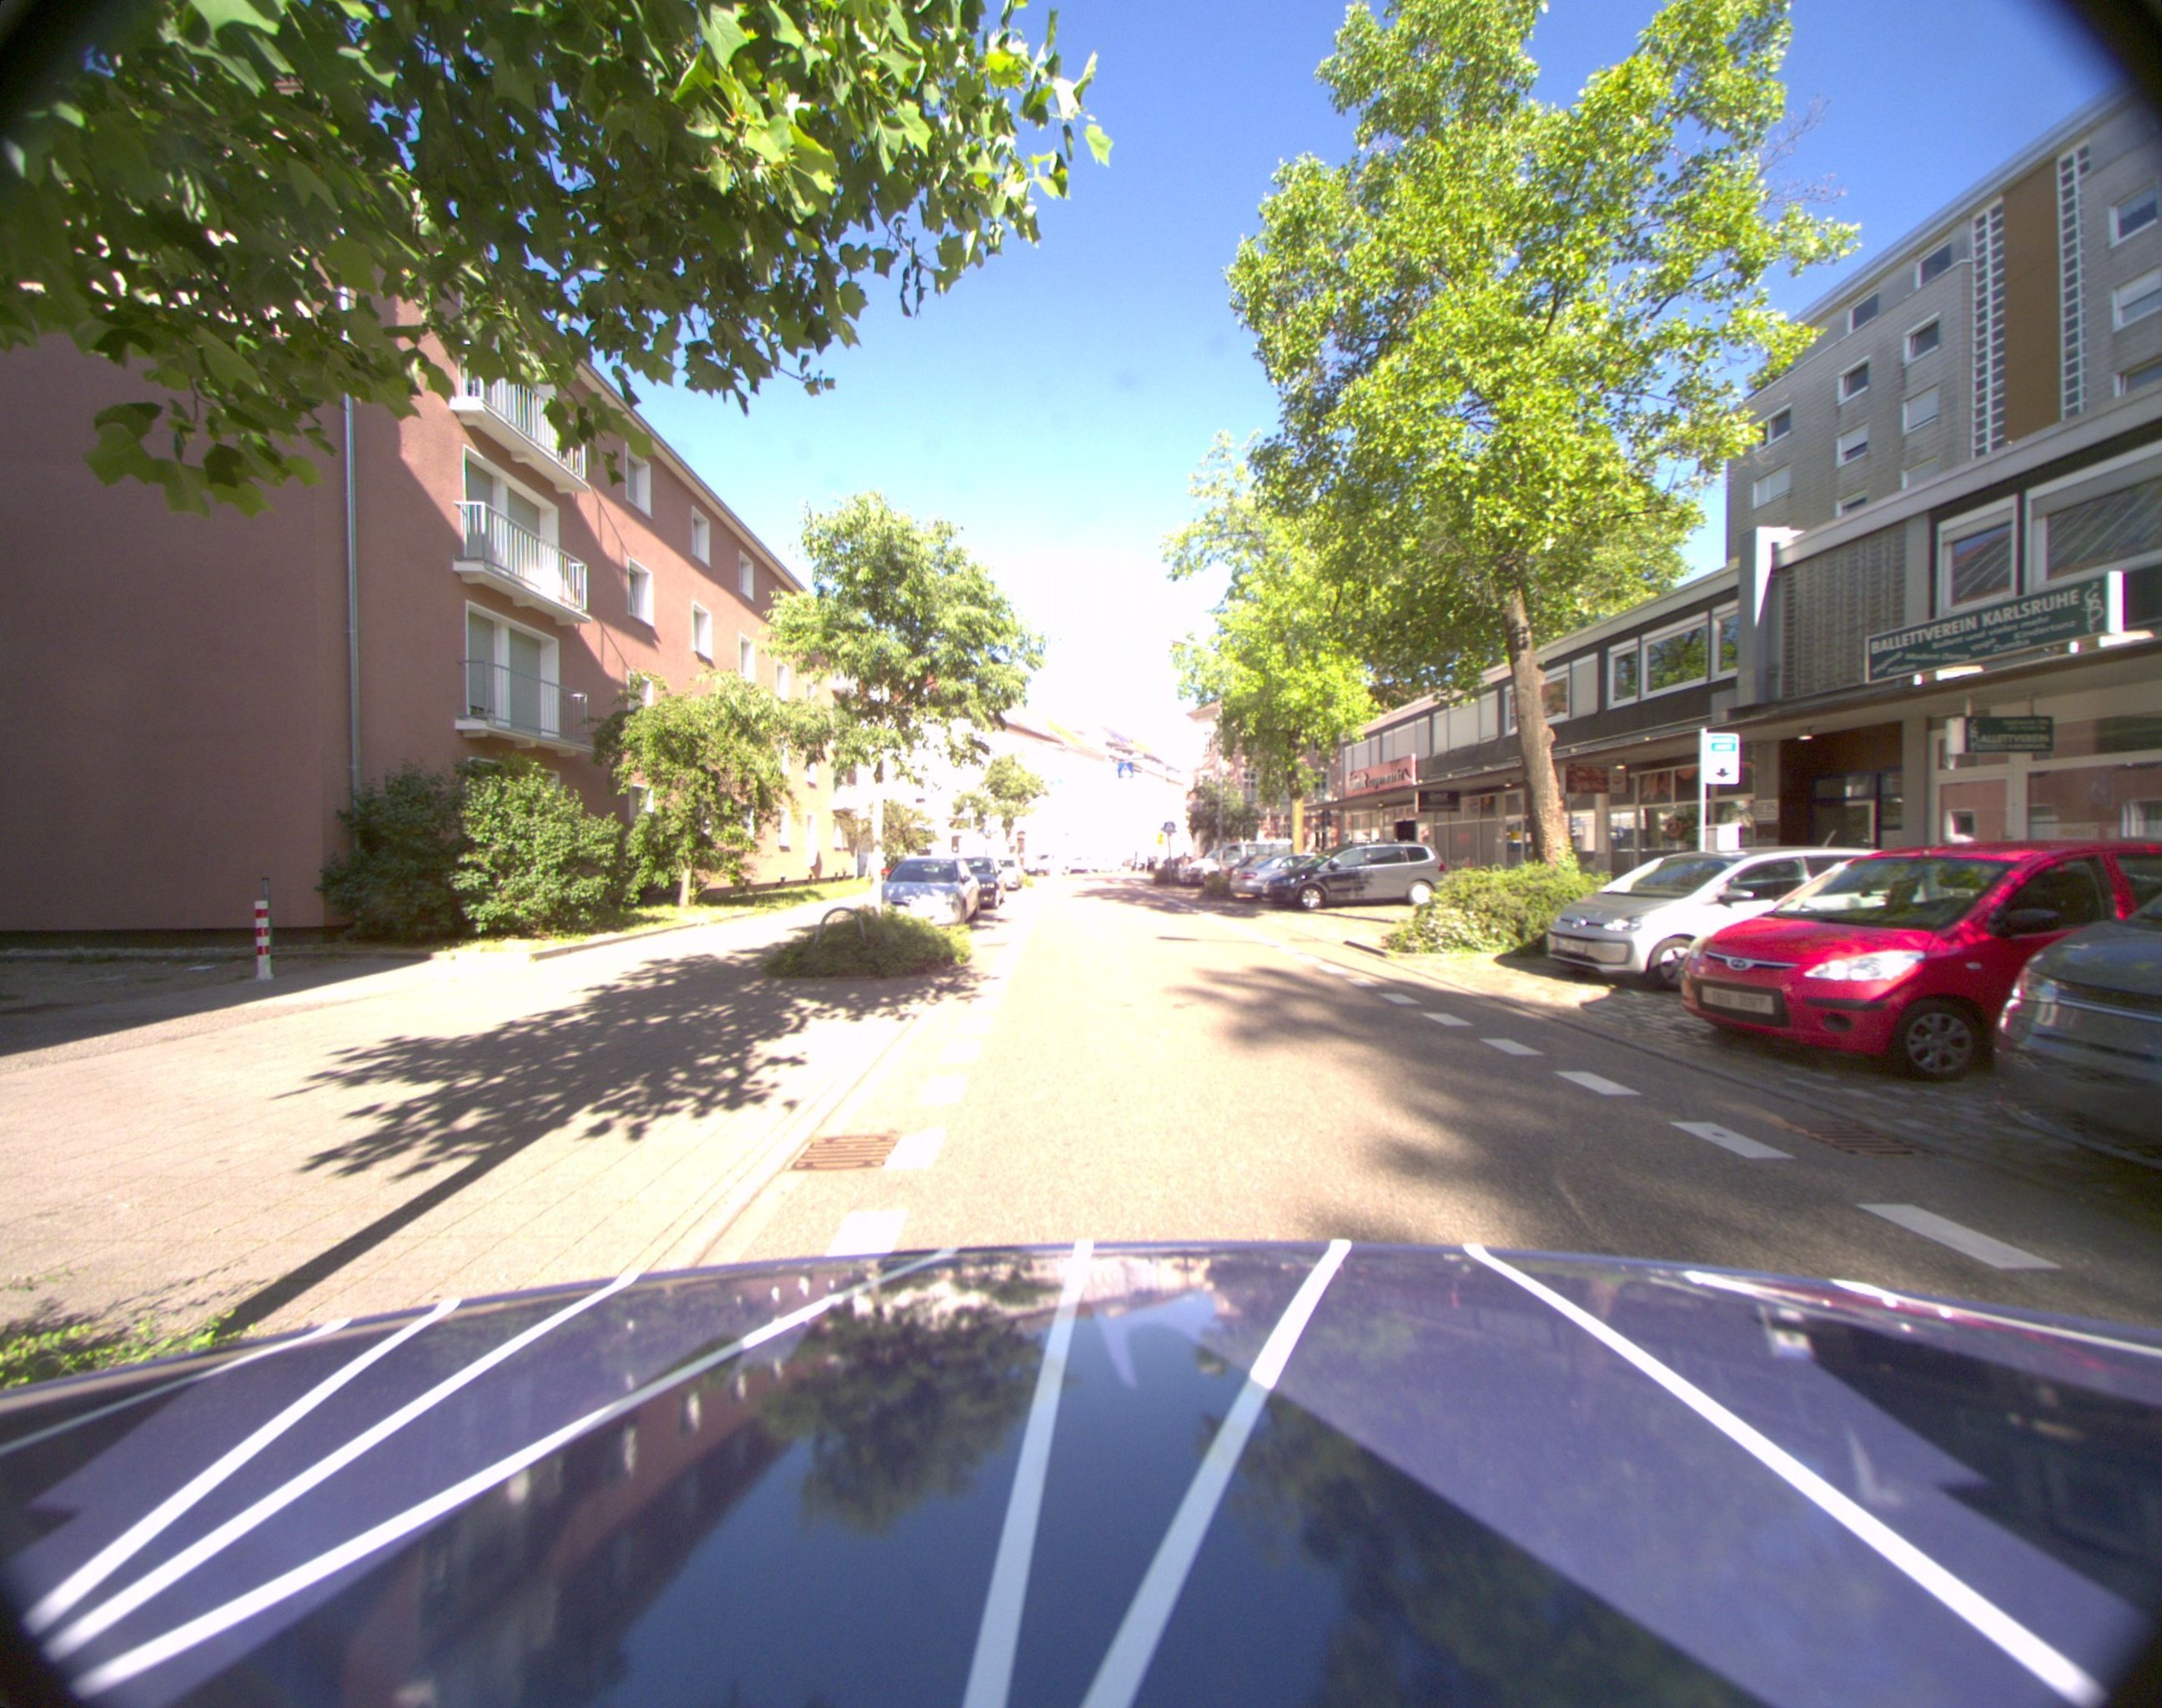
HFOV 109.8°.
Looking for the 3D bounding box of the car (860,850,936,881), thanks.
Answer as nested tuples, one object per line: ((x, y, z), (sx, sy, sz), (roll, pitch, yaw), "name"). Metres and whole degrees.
((-12.357, 0.748, 51.608), (4.757, 2.002, 1.999), (-1, 0, -6), "car")

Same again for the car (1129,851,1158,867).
((6.170, 0.508, 74.414), (1.608, 1.444, 3.302), (3, 0, 27), "car")

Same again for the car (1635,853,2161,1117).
((6.539, 0.823, 5.719), (3.567, 1.545, 1.661), (-2, 1, -4), "car")

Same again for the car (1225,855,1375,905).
((6.542, 0.749, 22.957), (3.998, 1.390, 1.759), (-1, 0, -3), "car")

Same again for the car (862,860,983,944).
((-3.127, 0.888, 15.756), (1.720, 1.445, 3.999), (0, 1, -1), "car")

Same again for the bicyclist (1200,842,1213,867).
((8.504, 0.059, 51.353), (0.817, 1.663, 0.848), (0, 1, 11), "bicyclist")

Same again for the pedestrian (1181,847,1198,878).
((5.658, 0.446, 39.746), (0.727, 1.630, 0.807), (0, 1, -2), "pedestrian")

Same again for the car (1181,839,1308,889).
((6.998, 0.425, 32.807), (4.996, 1.958, 1.909), (-2, 1, -3), "car")

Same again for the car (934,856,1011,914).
((-3.033, 0.811, 22.054), (1.662, 1.473, 4.310), (-1, 0, -1), "car")

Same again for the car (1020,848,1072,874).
((-2.592, 0.515, 57.984), (1.908, 1.924, 4.817), (0, 0, 25), "car")

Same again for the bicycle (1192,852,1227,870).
((8.685, 0.463, 51.296), (2.287, 1.179, 0.876), (-1, 1, 12), "bicycle")

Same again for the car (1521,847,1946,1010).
((7.326, 0.758, 8.746), (3.597, 1.552, 1.671), (-2, 1, -5), "car")

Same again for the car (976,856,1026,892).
((-3.346, 0.815, 32.528), (1.736, 1.420, 3.999), (-1, 0, -1), "car")

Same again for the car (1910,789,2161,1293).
((6.625, 0.632, 2.860), (5.044, 1.927, 1.872), (-2, 1, -2), "car")

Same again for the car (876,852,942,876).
((-10.445, 0.610, 46.333), (3.648, 1.394, 1.568), (-1, 0, -1), "car")

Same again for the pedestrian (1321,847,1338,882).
((11.200, 0.459, 34.251), (0.529, 1.547, 0.662), (-2, 1, -1), "pedestrian")

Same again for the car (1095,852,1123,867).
((2.719, 0.508, 72.538), (1.632, 1.412, 3.299), (0, 0, 22), "car")

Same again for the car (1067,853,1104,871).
((0.444, 0.707, 66.532), (2.131, 1.487, 3.950), (0, 0, 17), "car")

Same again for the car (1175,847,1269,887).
((6.523, 0.597, 35.371), (3.998, 1.781, 1.757), (-1, 0, -2), "car")

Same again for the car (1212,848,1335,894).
((7.045, 0.596, 28.016), (3.998, 1.413, 1.736), (-4, 1, -3), "car")

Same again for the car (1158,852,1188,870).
((8.452, 0.601, 69.221), (1.670, 1.628, 4.054), (0, 0, 23), "car")

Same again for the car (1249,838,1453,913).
((7.161, 0.538, 20.426), (4.782, 1.767, 1.873), (-2, 1, -3), "car")
